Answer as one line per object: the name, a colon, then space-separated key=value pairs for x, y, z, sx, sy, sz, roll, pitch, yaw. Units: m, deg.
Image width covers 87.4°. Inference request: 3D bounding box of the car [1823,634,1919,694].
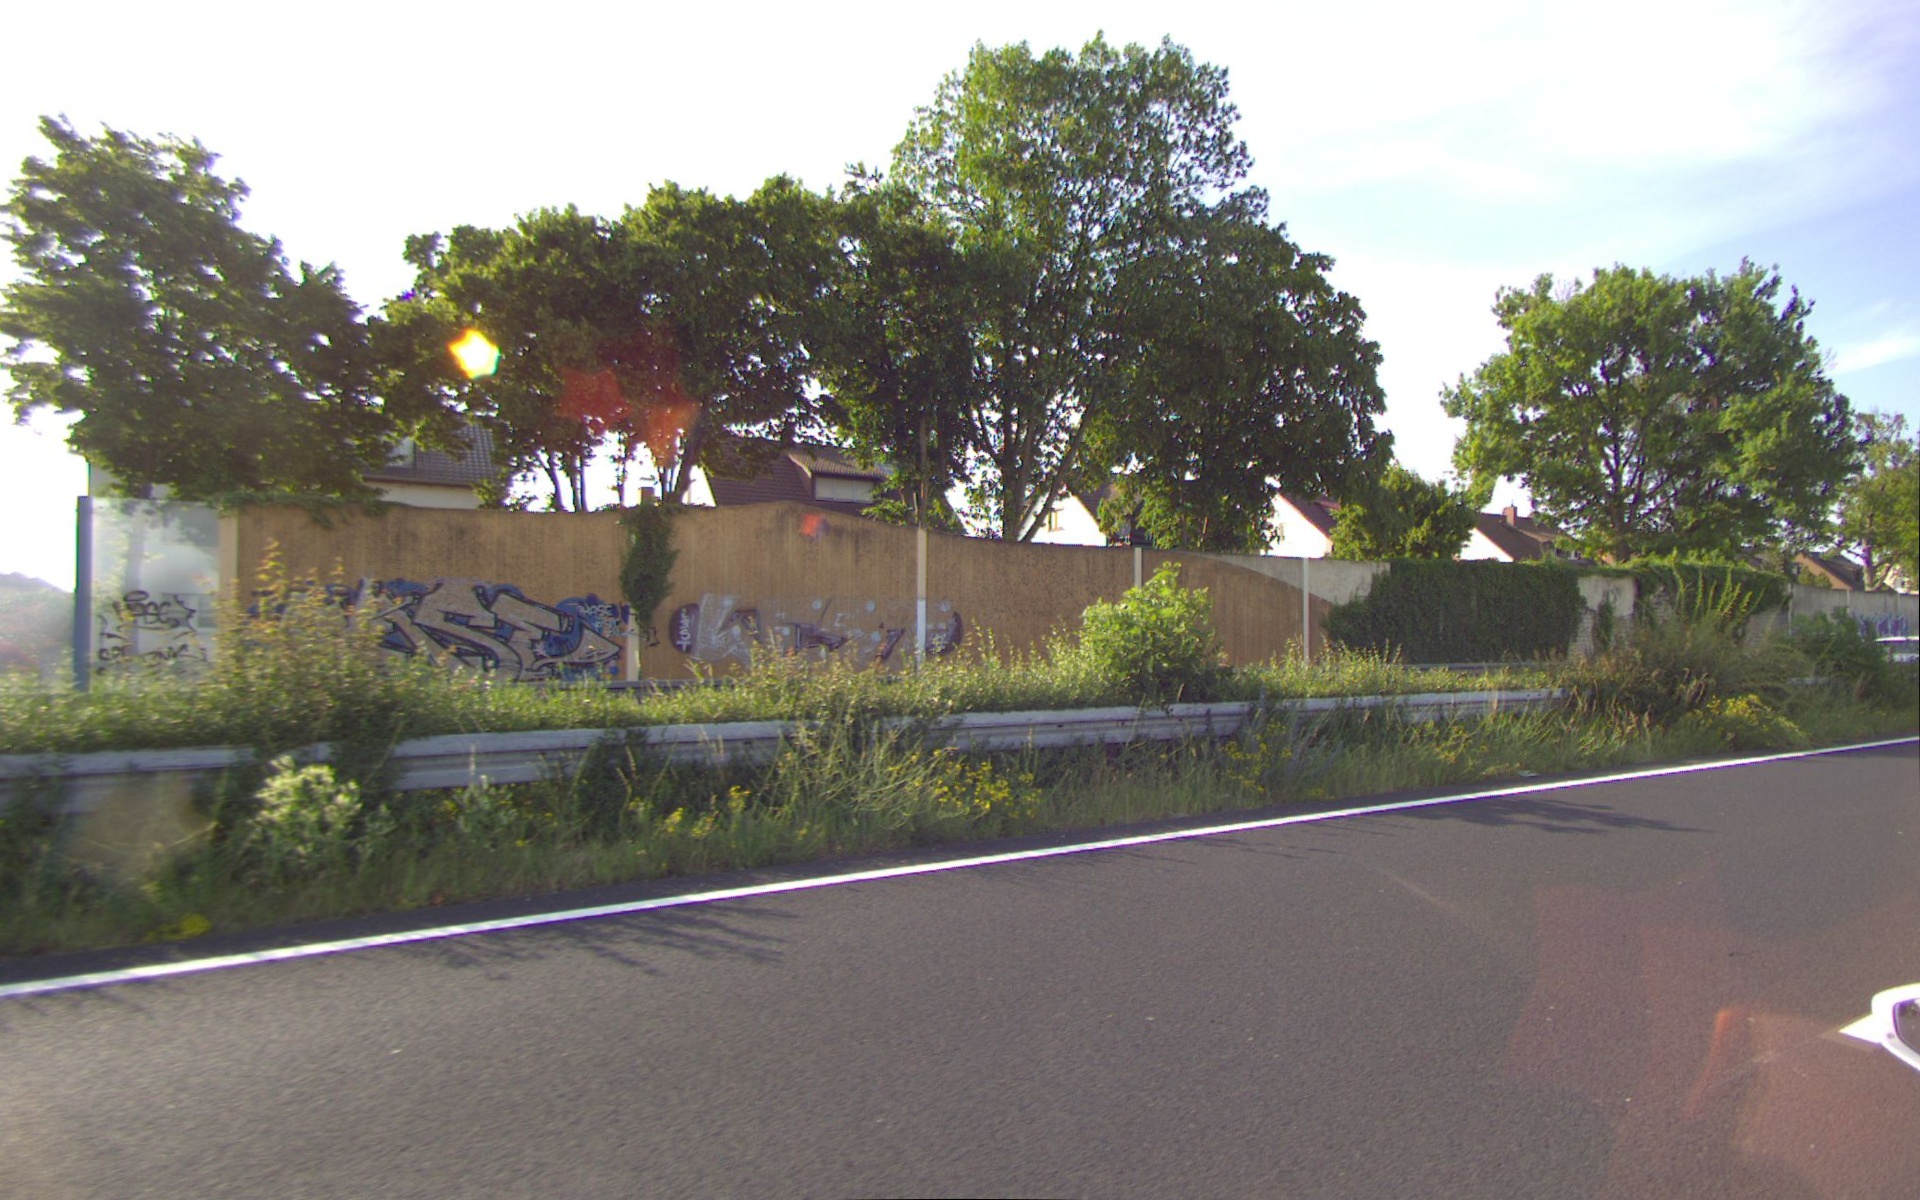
car: x=25.680 y=1.739 z=27.753 sx=3.630 sy=1.508 sz=1.685 roll=2 pitch=0 yaw=-30
